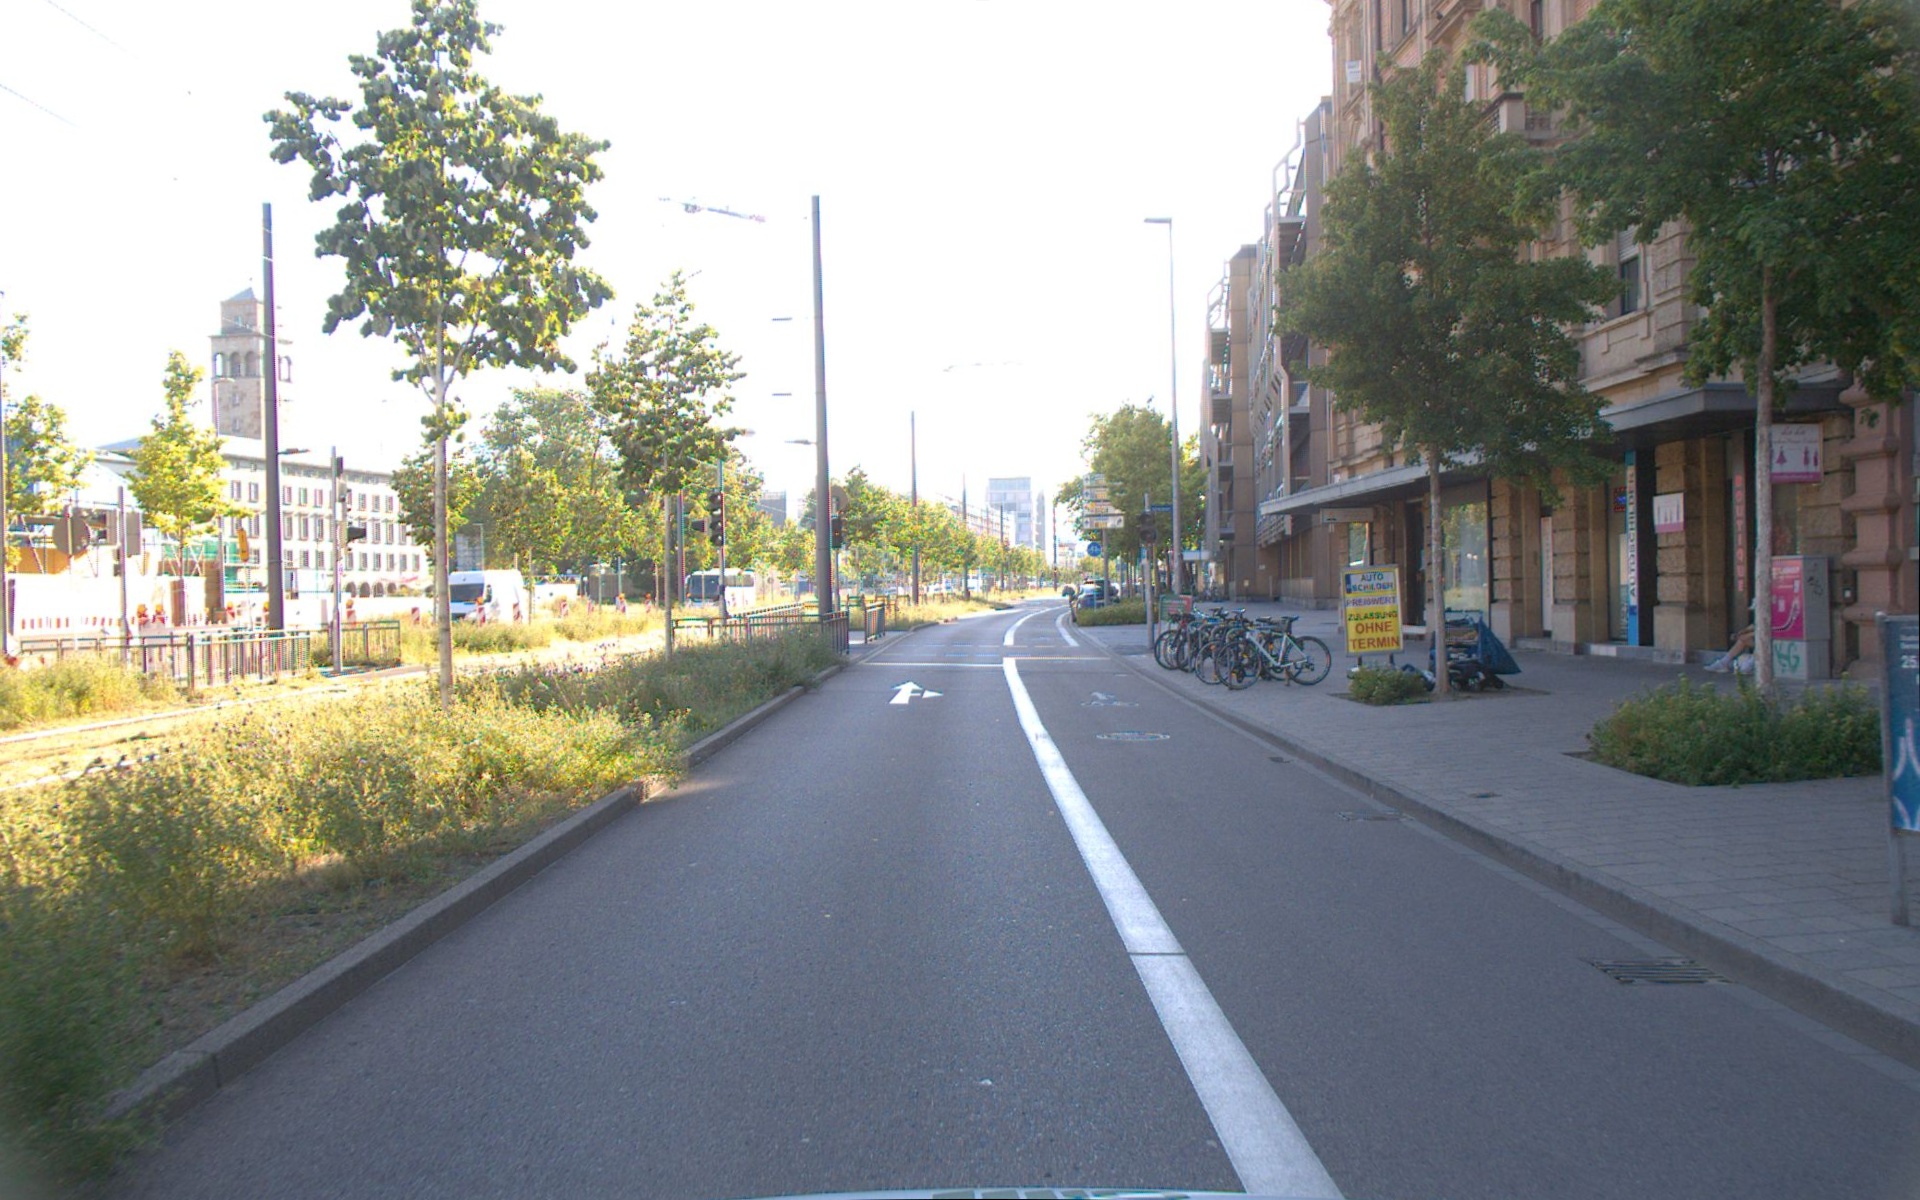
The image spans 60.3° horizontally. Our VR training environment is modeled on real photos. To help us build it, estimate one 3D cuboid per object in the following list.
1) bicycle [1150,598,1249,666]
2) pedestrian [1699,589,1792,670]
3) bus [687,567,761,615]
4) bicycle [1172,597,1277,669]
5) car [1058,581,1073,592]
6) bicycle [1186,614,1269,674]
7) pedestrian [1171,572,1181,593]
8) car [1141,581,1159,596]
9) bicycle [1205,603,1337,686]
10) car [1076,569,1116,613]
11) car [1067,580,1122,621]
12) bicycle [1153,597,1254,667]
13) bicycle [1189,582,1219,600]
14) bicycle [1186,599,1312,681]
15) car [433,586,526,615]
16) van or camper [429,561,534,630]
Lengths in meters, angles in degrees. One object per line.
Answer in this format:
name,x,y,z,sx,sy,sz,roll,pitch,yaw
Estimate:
bicycle,4.379,0.574,30.283,1.717,1.123,0.507,-4,0,4
pedestrian,9.929,0.361,20.929,0.797,0.979,0.804,-1,0,1
bus,-18.741,-0.754,132.195,2.739,3.657,12.707,-1,0,6
bicycle,4.538,0.558,28.412,1.685,1.123,0.507,-4,0,4
car,13.678,-1.719,213.402,1.739,1.453,4.003,0,1,6
bicycle,4.349,0.710,26.966,1.248,0.892,0.507,-4,0,4
pedestrian,17.363,-1.406,133.008,0.772,1.677,1.137,-2,0,6
car,19.728,-1.234,171.906,1.670,1.443,4.280,-3,0,9
bicycle,4.464,0.640,23.804,1.767,1.065,0.566,-4,0,4
car,6.460,-0.440,79.082,1.698,1.952,4.395,-3,0,3
car,5.797,-0.015,71.646,1.892,1.626,4.699,-3,0,-1
bicycle,4.362,0.570,29.692,1.717,1.123,0.507,-4,0,4
bicycle,16.122,-0.605,109.289,1.860,1.112,0.392,-2,0,0
bicycle,4.410,0.610,25.314,1.805,1.123,0.566,-4,0,4
car,-29.987,0.034,103.299,5.116,1.747,2.126,-1,0,5
van or camper,-19.237,-0.234,66.885,2.177,2.553,7.199,-3,1,-1
